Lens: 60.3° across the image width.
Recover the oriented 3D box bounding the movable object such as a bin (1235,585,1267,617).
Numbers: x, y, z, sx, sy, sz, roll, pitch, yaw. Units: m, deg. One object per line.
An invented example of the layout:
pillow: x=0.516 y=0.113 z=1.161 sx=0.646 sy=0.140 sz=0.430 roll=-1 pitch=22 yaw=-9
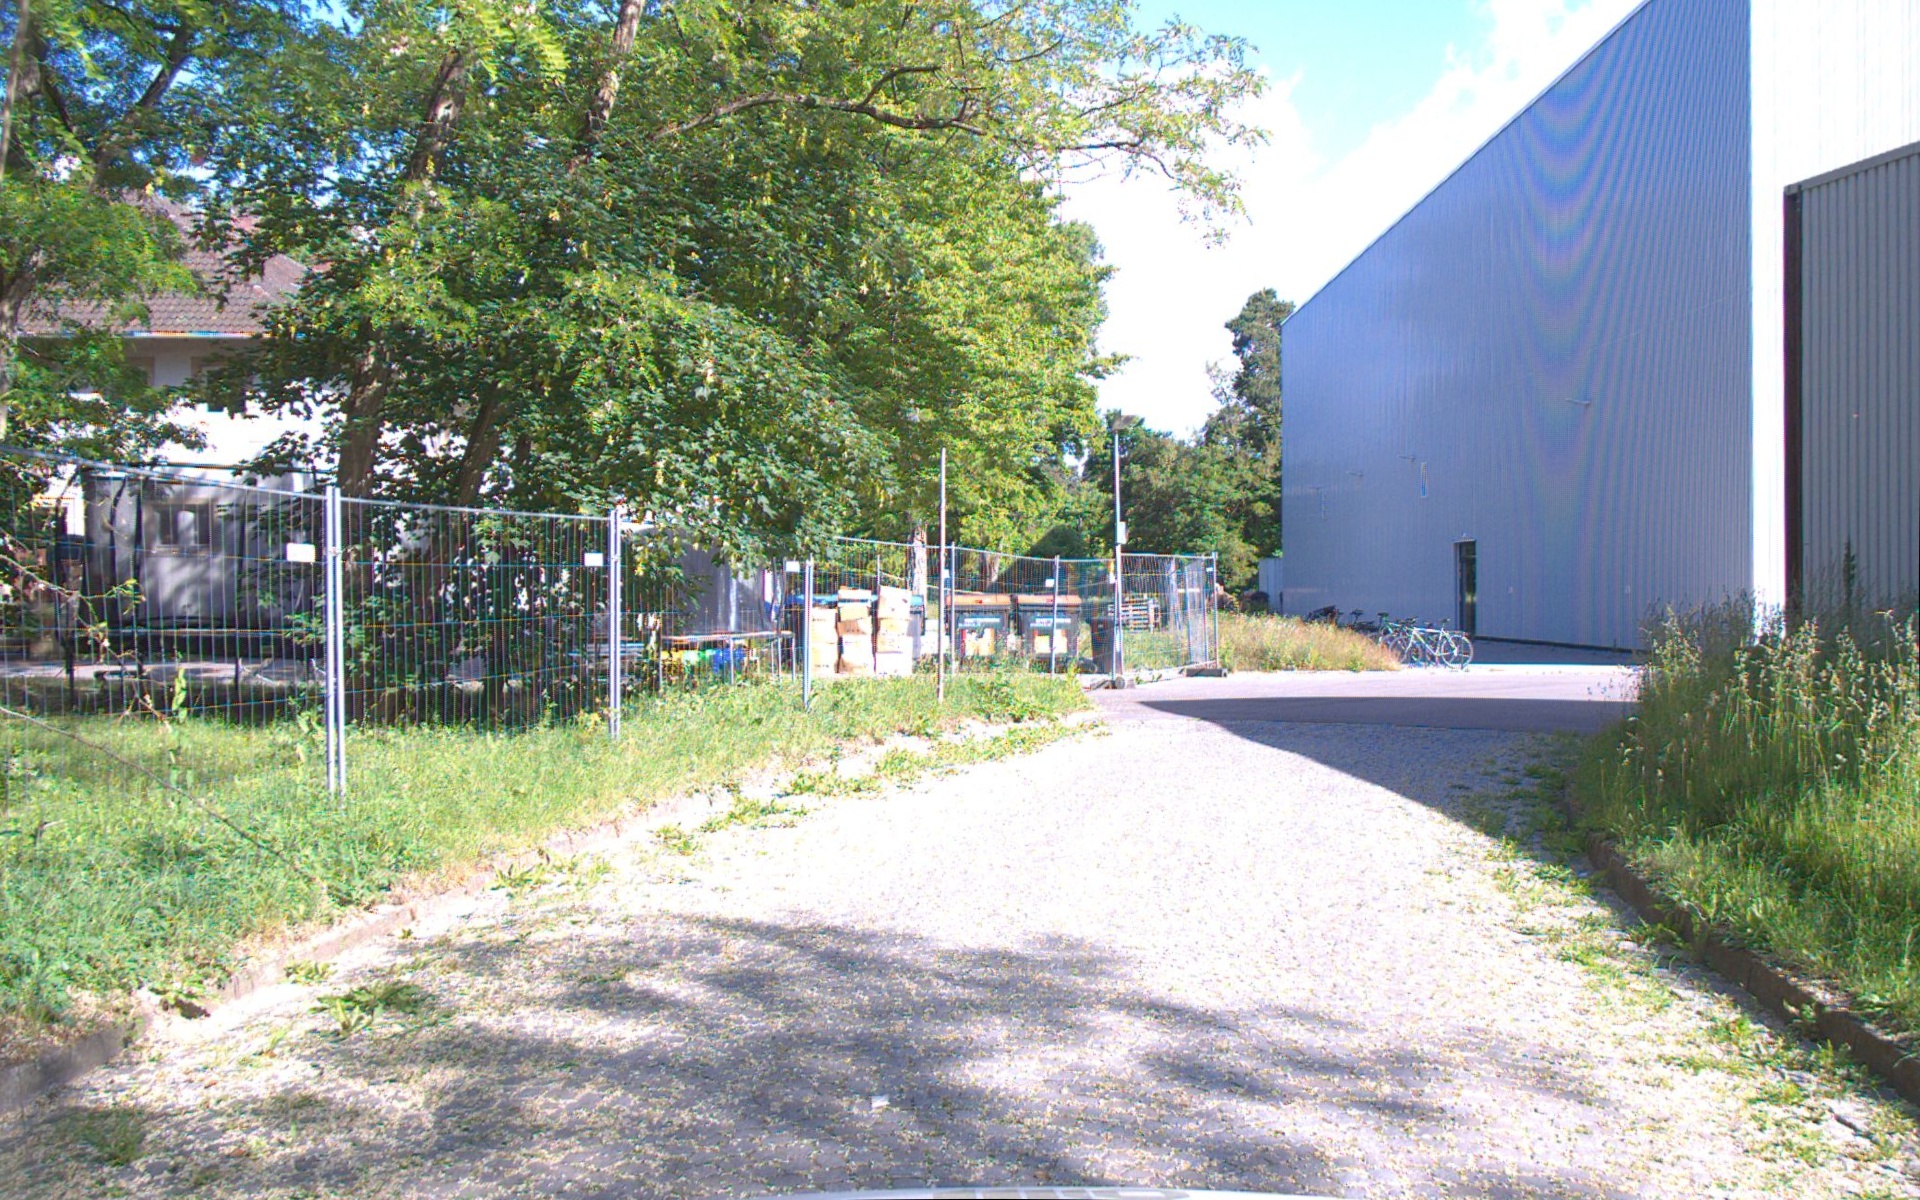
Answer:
movable object such as a bin: x=15.873 y=0.042 z=90.399 sx=1.335 sy=1.685 sz=2.843 roll=-1 pitch=0 yaw=2

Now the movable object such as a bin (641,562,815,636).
movable object such as a bin: x=-6.638 y=-0.030 z=47.695 sx=4.773 sy=2.005 sz=1.932 roll=-1 pitch=0 yaw=-3

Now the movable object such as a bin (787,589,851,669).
movable object such as a bin: x=-2.644 y=0.527 z=31.054 sx=1.061 sy=1.463 sz=1.056 roll=-1 pitch=0 yaw=2

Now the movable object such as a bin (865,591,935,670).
movable object such as a bin: x=-1.124 y=0.560 z=31.016 sx=1.261 sy=1.451 sz=1.032 roll=-1 pitch=0 yaw=-3

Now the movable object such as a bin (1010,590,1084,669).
movable object such as a bin: x=1.624 y=0.541 z=31.098 sx=1.262 sy=1.451 sz=1.031 roll=-1 pitch=0 yaw=-4

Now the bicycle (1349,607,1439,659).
bicycle: x=9.491 y=0.723 z=36.187 sx=1.845 sy=1.101 sz=0.433 roll=-1 pitch=0 yaw=-1

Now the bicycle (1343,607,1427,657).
bicycle: x=9.967 y=0.740 z=38.786 sx=1.845 sy=1.145 sz=0.433 roll=-1 pitch=0 yaw=-1

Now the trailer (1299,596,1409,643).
trailer: x=10.609 y=0.526 z=44.600 sx=2.655 sy=1.221 sz=1.246 roll=-1 pitch=0 yaw=-1

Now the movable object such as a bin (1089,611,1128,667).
movable object such as a bin: x=2.778 y=0.722 z=30.892 sx=0.628 sy=1.025 sz=0.605 roll=-1 pitch=0 yaw=15

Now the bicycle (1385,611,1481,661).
bicycle: x=9.640 y=0.726 z=33.727 sx=1.845 sy=0.995 sz=0.433 roll=-1 pitch=0 yaw=-1

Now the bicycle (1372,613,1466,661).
bicycle: x=9.694 y=0.780 z=34.941 sx=1.845 sy=0.995 sz=0.433 roll=-1 pitch=0 yaw=-1

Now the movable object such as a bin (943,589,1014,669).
movable object such as a bin: x=0.337 y=0.534 z=31.024 sx=1.261 sy=1.451 sz=1.032 roll=-1 pitch=0 yaw=-3
